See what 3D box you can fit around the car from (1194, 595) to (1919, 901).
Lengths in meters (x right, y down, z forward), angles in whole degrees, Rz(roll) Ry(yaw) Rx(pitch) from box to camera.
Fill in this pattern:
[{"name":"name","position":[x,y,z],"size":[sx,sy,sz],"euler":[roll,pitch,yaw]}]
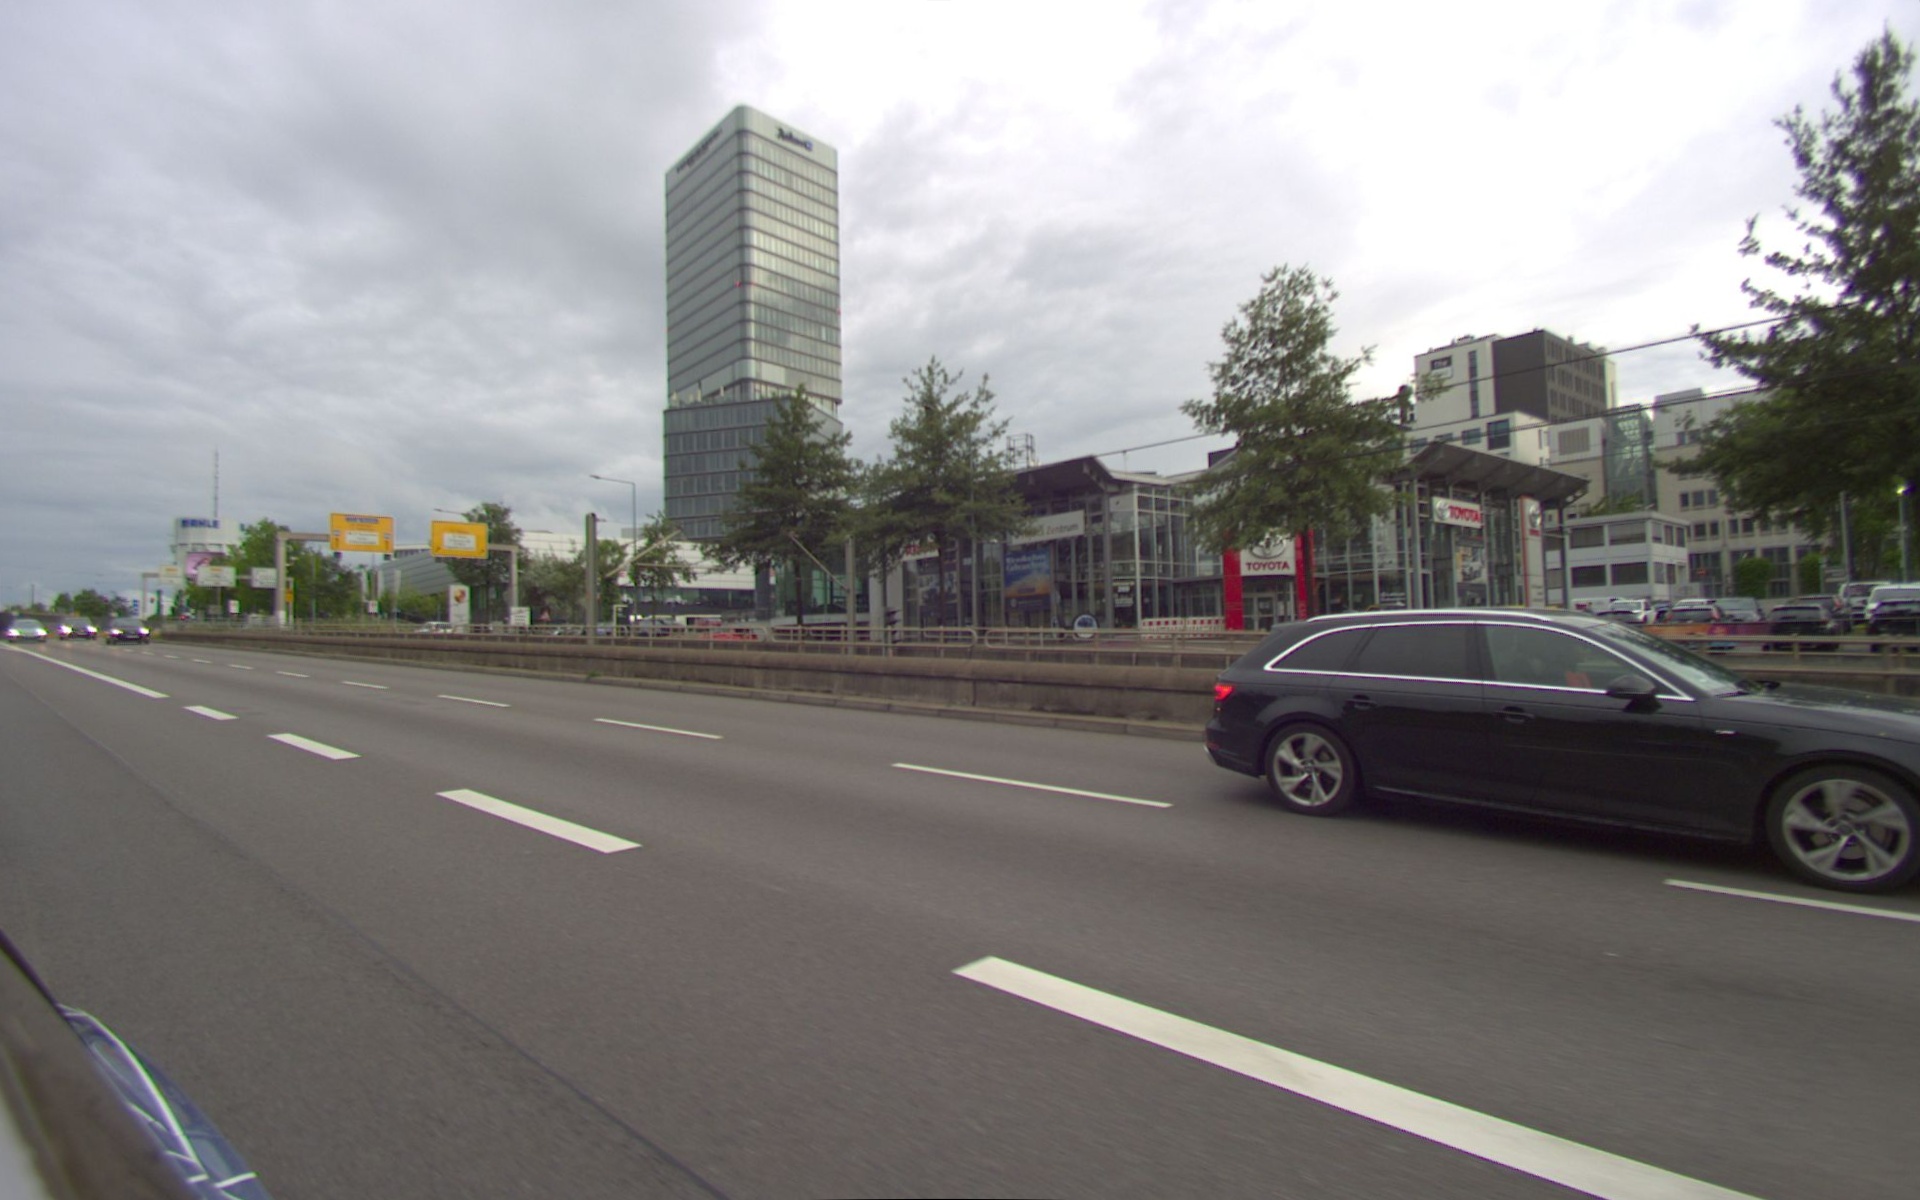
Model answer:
[{"name":"car","position":[4.056,0.715,6.429],"size":[1.765,1.424,4.809],"euler":[0,-1,-44]}]

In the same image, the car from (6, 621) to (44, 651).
[{"name":"car","position":[-61.363,2.327,66.376],"size":[1.768,1.882,4.381],"euler":[-1,0,-43]}]

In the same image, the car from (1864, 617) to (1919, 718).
[{"name":"car","position":[15.686,0.963,13.823],"size":[1.769,1.411,4.878],"euler":[-1,0,-45]}]

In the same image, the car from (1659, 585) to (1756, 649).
[{"name":"car","position":[24.574,0.516,33.205],"size":[4.302,1.962,1.886],"euler":[-1,0,-44]}]

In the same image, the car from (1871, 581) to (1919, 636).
[{"name":"car","position":[33.823,0.268,35.859],"size":[4.301,1.828,1.887],"euler":[-1,0,-43]}]

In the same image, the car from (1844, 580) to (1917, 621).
[{"name":"car","position":[37.154,0.004,40.823],"size":[3.861,1.605,1.804],"euler":[-1,0,-43]}]

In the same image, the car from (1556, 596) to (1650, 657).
[{"name":"car","position":[22.375,0.866,35.149],"size":[4.166,1.962,1.866],"euler":[-1,0,-44]}]

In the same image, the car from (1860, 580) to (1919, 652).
[{"name":"car","position":[27.657,0.414,29.354],"size":[4.301,1.962,1.887],"euler":[-1,0,-43]}]

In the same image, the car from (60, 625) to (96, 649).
[{"name":"car","position":[-63.323,2.609,72.602],"size":[1.768,1.556,4.381],"euler":[-1,0,-43]}]

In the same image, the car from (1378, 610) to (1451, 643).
[{"name":"car","position":[21.882,1.240,48.660],"size":[3.939,1.417,1.761],"euler":[-1,0,-43]}]

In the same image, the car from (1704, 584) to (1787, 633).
[{"name":"car","position":[31.114,0.303,40.032],"size":[4.301,1.828,1.887],"euler":[-1,0,-43]}]

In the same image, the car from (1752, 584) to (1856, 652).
[{"name":"car","position":[25.957,0.498,31.079],"size":[4.301,1.962,1.887],"euler":[-1,0,-43]}]

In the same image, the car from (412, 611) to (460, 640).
[{"name":"car","position":[-35.790,1.740,69.113],"size":[1.768,1.882,4.381],"euler":[-1,0,-43]}]

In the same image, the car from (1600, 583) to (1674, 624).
[{"name":"car","position":[31.781,0.144,47.468],"size":[4.301,1.828,1.887],"euler":[-1,0,-43]}]

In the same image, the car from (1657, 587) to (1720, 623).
[{"name":"car","position":[38.608,0.228,53.595],"size":[4.301,1.828,1.887],"euler":[-1,0,-43]}]

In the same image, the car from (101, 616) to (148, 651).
[{"name":"car","position":[-47.964,1.903,58.065],"size":[1.768,1.882,4.381],"euler":[-1,0,-43]}]
